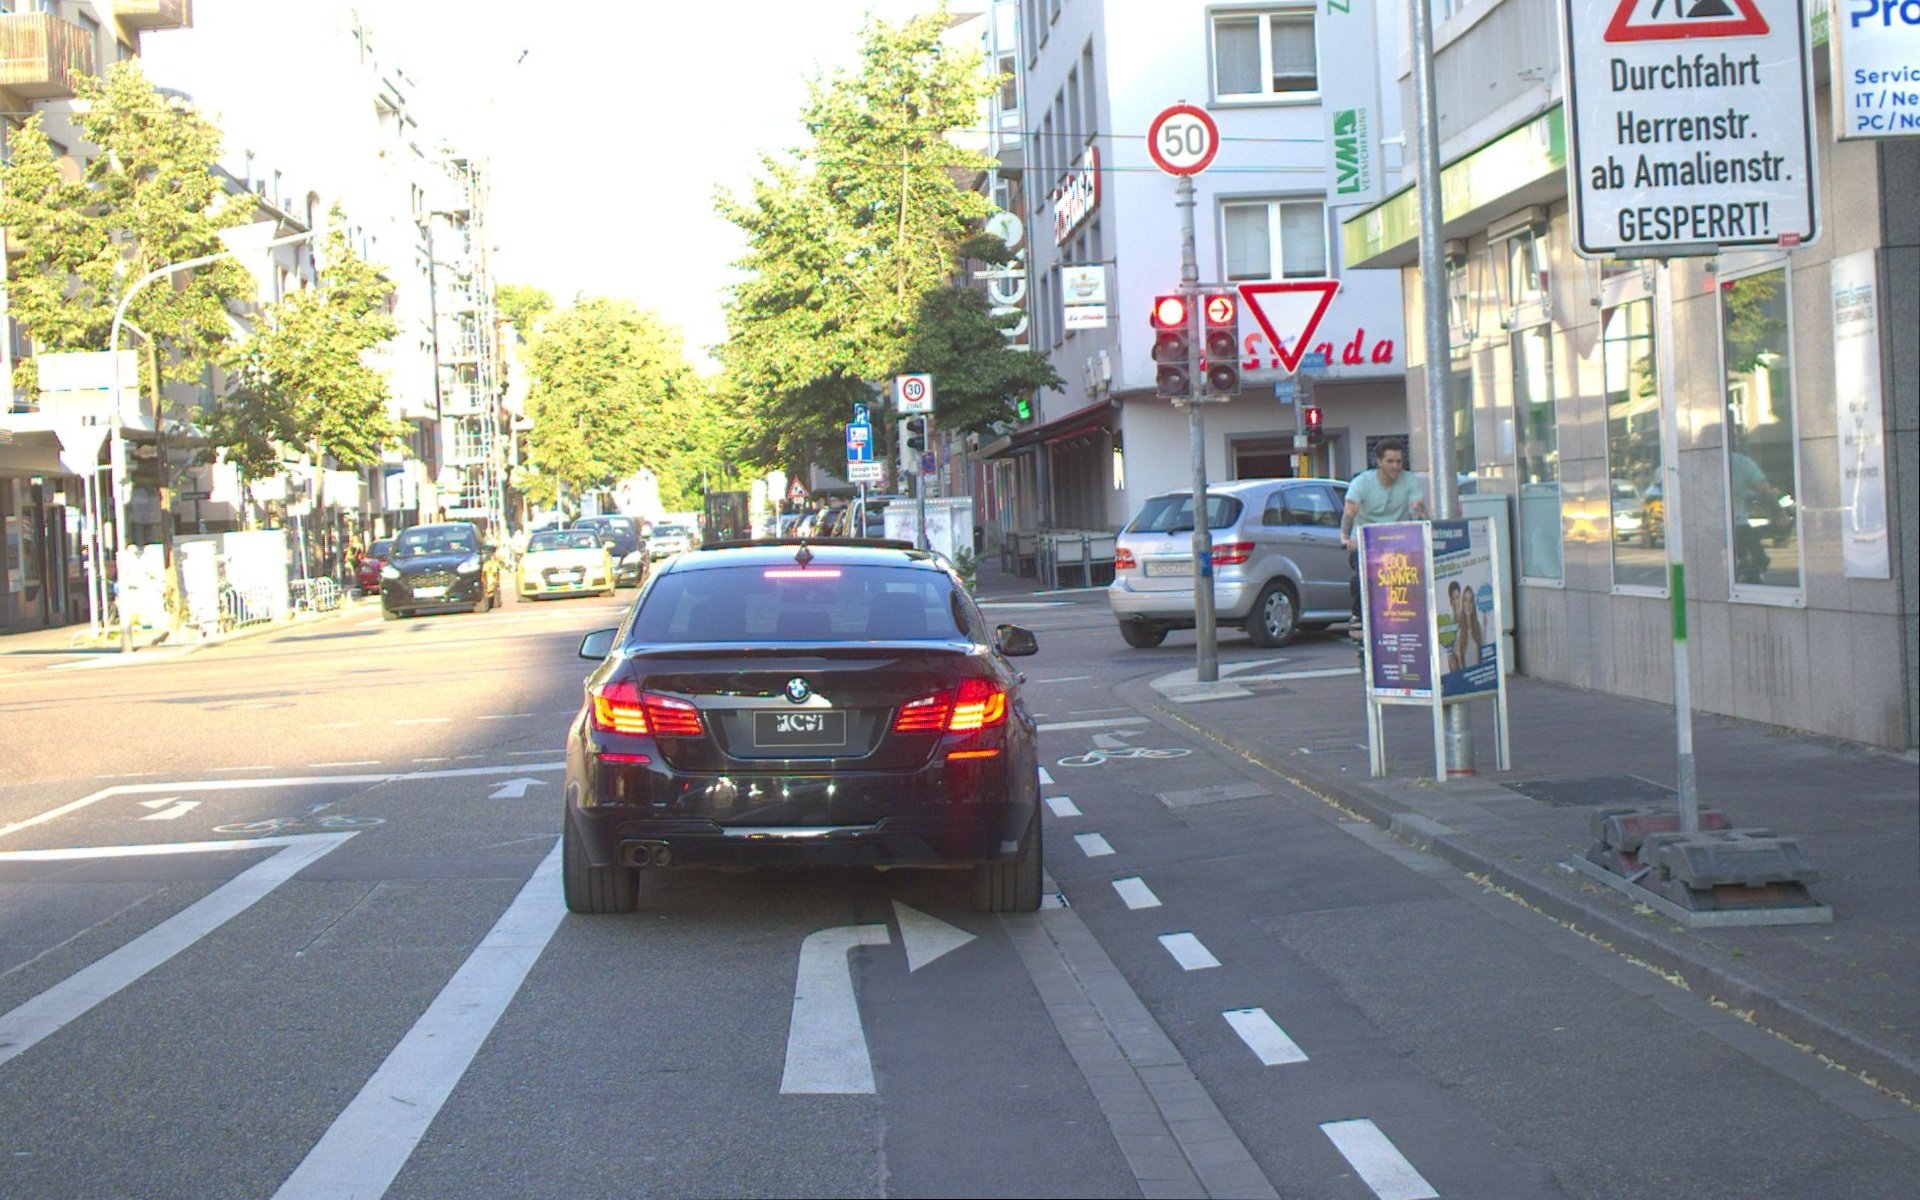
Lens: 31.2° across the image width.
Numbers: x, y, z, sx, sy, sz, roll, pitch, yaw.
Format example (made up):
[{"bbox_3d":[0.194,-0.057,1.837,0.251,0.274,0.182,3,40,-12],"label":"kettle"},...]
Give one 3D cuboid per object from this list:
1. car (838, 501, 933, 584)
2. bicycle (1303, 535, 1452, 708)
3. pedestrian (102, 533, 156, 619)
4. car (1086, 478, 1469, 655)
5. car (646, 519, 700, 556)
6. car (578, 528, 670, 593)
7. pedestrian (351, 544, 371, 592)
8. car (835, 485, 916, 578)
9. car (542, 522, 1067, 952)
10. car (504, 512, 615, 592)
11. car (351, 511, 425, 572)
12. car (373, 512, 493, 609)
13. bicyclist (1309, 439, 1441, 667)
[{"bbox_3d":[-1.419,-1.081,64.386,1.625,1.466,3.395,-1,1,-3],"label":"car"},{"bbox_3d":[2.844,0.123,23.599,0.690,1.103,1.896,-2,1,-2],"label":"bicycle"},{"bbox_3d":[-16.591,-0.481,68.636,0.823,1.670,0.871,-3,1,-3],"label":"pedestrian"},{"bbox_3d":[3.211,-0.357,34.088,1.836,1.570,4.092,-1,2,38],"label":"car"},{"bbox_3d":[-10.811,-2.351,129.226,1.733,1.288,4.001,-3,2,-8],"label":"car"},{"bbox_3d":[-7.276,-0.865,74.164,1.733,1.288,4.001,-3,2,-8],"label":"car"},{"bbox_3d":[-17.952,-0.962,103.041,0.444,1.411,0.525,-3,1,-5],"label":"pedestrian"},{"bbox_3d":[-1.756,-1.400,70.777,1.421,1.848,3.053,-2,1,-5],"label":"car"},{"bbox_3d":[-0.704,0.448,14.722,1.903,1.535,4.450,0,2,-4],"label":"car"},{"bbox_3d":[-7.882,-0.950,67.375,1.993,1.437,4.001,-3,2,-8],"label":"car"},{"bbox_3d":[-14.730,-1.519,88.626,1.733,1.456,4.001,-3,2,-8],"label":"car"},{"bbox_3d":[-9.466,-0.733,61.884,1.993,1.612,4.001,-3,2,-8],"label":"car"},{"bbox_3d":[2.837,-0.329,23.572,0.722,1.502,0.900,-2,1,-1],"label":"bicyclist"}]
